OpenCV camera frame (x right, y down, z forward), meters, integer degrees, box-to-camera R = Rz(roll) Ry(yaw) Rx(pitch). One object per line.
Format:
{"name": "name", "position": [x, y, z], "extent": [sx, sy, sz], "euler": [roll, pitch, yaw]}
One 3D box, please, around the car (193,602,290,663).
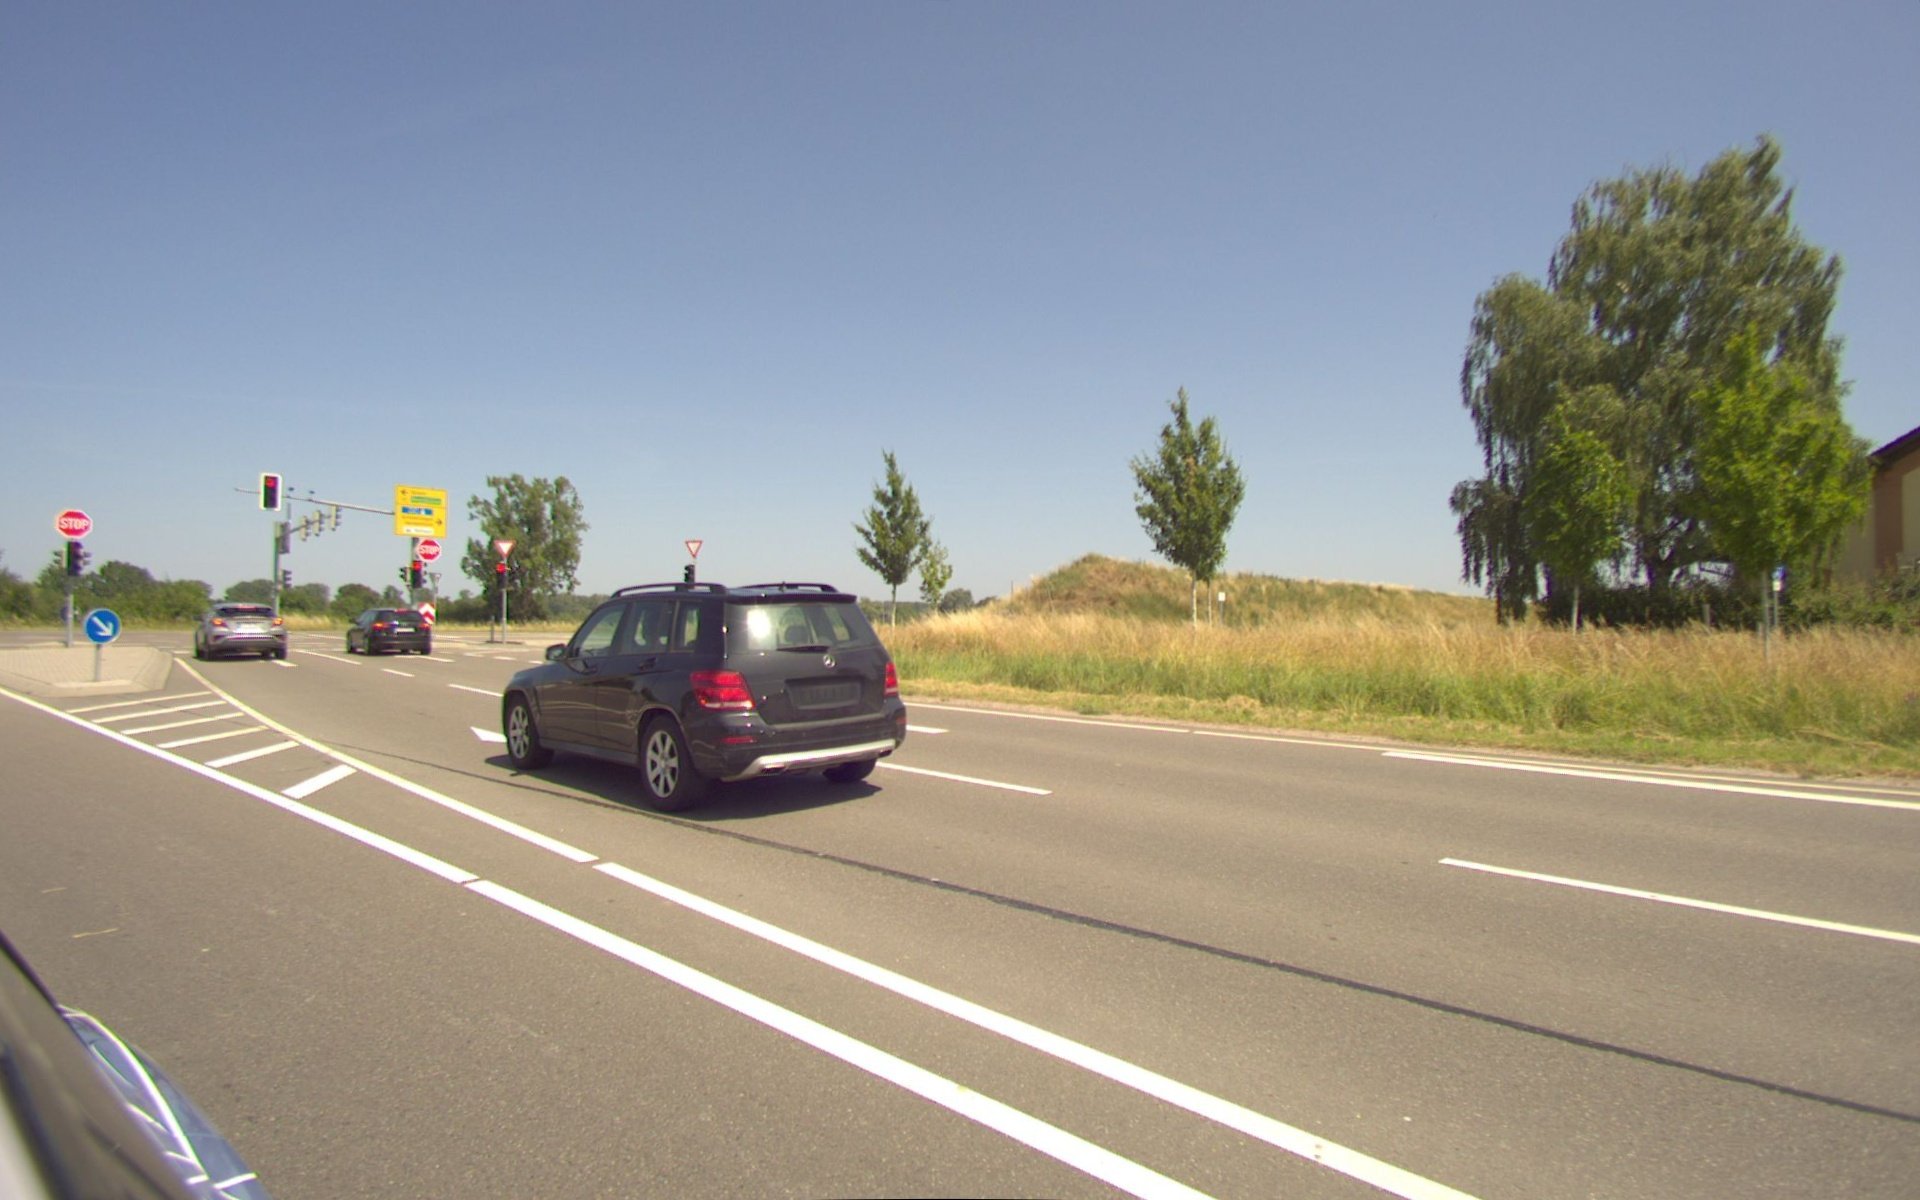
{"name": "car", "position": [-19.936, 0.882, 28.000], "extent": [1.842, 1.555, 4.558], "euler": [1, -2, -40]}

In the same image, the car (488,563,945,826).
{"name": "car", "position": [-2.282, 0.656, 8.616], "extent": [1.844, 1.663, 4.330], "euler": [1, -2, -44]}

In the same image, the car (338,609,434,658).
{"name": "car", "position": [-17.625, 1.007, 30.989], "extent": [1.748, 1.379, 4.280], "euler": [1, -2, -41]}
